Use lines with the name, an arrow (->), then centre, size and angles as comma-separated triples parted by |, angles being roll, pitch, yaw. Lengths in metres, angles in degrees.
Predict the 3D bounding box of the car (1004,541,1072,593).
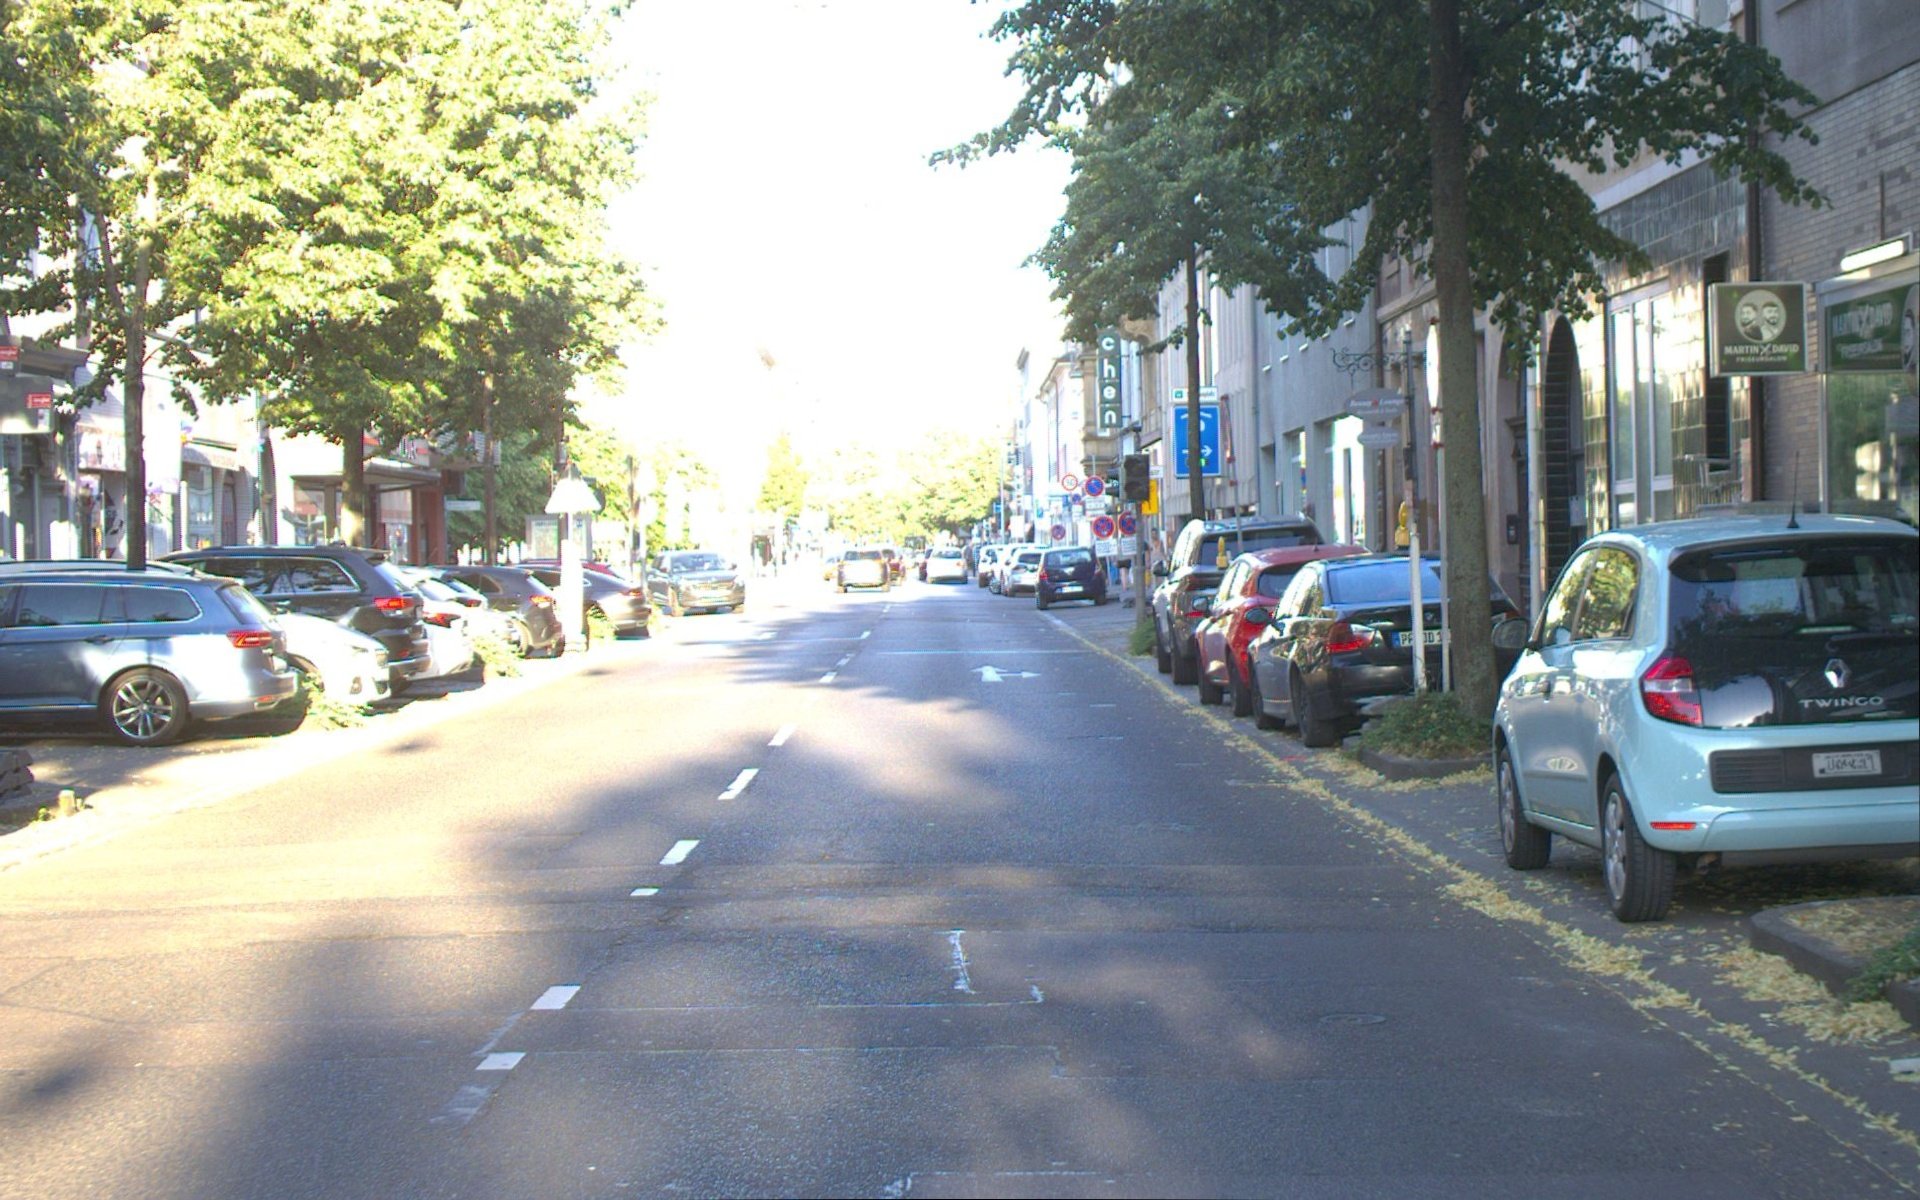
car -> 2.347, -0.994, 104.902 | 1.759, 1.531, 4.822 | 1, 0, -2

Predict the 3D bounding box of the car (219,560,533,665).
car -> -8.257, 0.163, 48.850 | 4.097, 1.398, 1.843 | -1, 1, 1

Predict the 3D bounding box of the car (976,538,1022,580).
car -> 1.577, -1.651, 138.822 | 1.729, 1.645, 4.285 | 0, 1, -1

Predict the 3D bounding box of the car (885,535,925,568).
car -> -2.664, -2.355, 166.110 | 1.896, 1.575, 3.852 | -1, 1, -1

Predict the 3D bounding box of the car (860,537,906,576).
car -> -3.273, -1.852, 146.756 | 1.896, 1.644, 4.104 | -1, 1, -1

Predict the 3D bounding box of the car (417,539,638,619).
car -> -8.372, -0.418, 66.786 | 4.072, 1.531, 1.884 | 0, 1, 0

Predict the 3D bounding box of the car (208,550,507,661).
car -> -8.036, 0.059, 46.103 | 3.737, 1.439, 1.806 | 0, 1, -3

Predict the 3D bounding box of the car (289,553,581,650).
car -> -7.742, 0.008, 51.019 | 4.106, 1.398, 1.884 | 0, 1, -2

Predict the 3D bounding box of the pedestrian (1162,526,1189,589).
pedestrian -> 5.486, -1.088, 87.647 | 0.604, 1.594, 0.774 | -1, 1, -1

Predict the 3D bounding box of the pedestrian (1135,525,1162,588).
pedestrian -> 4.800, -1.103, 87.632 | 0.604, 1.594, 0.774 | -1, 1, -1

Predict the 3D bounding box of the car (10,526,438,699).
car -> -7.705, 0.110, 36.274 | 4.149, 1.767, 1.890 | 0, 1, -2

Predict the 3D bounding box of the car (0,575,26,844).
car -> -7.460, 0.641, 18.676 | 4.274, 1.479, 1.744 | -1, 1, 0

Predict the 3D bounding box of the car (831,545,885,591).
car -> -3.699, -1.177, 125.328 | 1.896, 1.644, 4.104 | -1, 1, -1

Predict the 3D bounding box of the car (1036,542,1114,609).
car -> 2.859, -0.632, 86.124 | 1.759, 1.531, 4.000 | -4, 1, 1

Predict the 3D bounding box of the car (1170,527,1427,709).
car -> 3.068, 0.124, 31.885 | 1.729, 1.482, 3.901 | -3, 1, -3

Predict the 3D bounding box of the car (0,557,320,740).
car -> -7.912, 0.407, 29.547 | 4.547, 1.479, 1.744 | -1, 1, -4

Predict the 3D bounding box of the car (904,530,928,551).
car -> -3.363, -4.553, 262.049 | 1.779, 1.542, 4.000 | -1, 1, -1

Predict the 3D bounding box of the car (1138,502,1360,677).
car -> 3.171, -0.156, 38.648 | 2.038, 1.731, 4.711 | -3, 1, 1

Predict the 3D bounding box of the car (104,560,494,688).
car -> -7.474, 0.255, 39.177 | 4.149, 1.416, 1.767 | 0, 1, -2

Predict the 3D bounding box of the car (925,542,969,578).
car -> -0.579, -1.786, 153.151 | 1.896, 1.576, 4.000 | 0, 1, -1

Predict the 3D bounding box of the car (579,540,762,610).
car -> -7.440, -0.635, 88.259 | 4.454, 1.686, 1.864 | 0, 2, 34

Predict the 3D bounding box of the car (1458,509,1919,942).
car -> 3.273, 0.425, 14.567 | 1.691, 1.537, 3.553 | -3, 1, -1

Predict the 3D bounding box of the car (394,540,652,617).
car -> -8.038, -0.408, 63.501 | 4.570, 1.403, 1.822 | 0, 1, -2

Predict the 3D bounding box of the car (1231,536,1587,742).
car -> 3.437, 0.246, 27.187 | 1.951, 1.385, 4.425 | -3, 1, -3

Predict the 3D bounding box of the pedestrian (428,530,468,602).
pedestrian -> -11.645, -0.769, 78.245 | 0.772, 1.602, 0.875 | 0, -1, 0

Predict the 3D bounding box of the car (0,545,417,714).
car -> -7.707, 0.268, 33.950 | 4.406, 1.590, 1.890 | 0, 1, -1

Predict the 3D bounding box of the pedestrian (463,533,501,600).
pedestrian -> -10.900, -0.757, 78.420 | 0.734, 1.523, 0.875 | 0, -1, 0

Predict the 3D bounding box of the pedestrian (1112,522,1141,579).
pedestrian -> 5.195, -1.547, 107.399 | 0.772, 1.705, 1.042 | -3, 1, -1
